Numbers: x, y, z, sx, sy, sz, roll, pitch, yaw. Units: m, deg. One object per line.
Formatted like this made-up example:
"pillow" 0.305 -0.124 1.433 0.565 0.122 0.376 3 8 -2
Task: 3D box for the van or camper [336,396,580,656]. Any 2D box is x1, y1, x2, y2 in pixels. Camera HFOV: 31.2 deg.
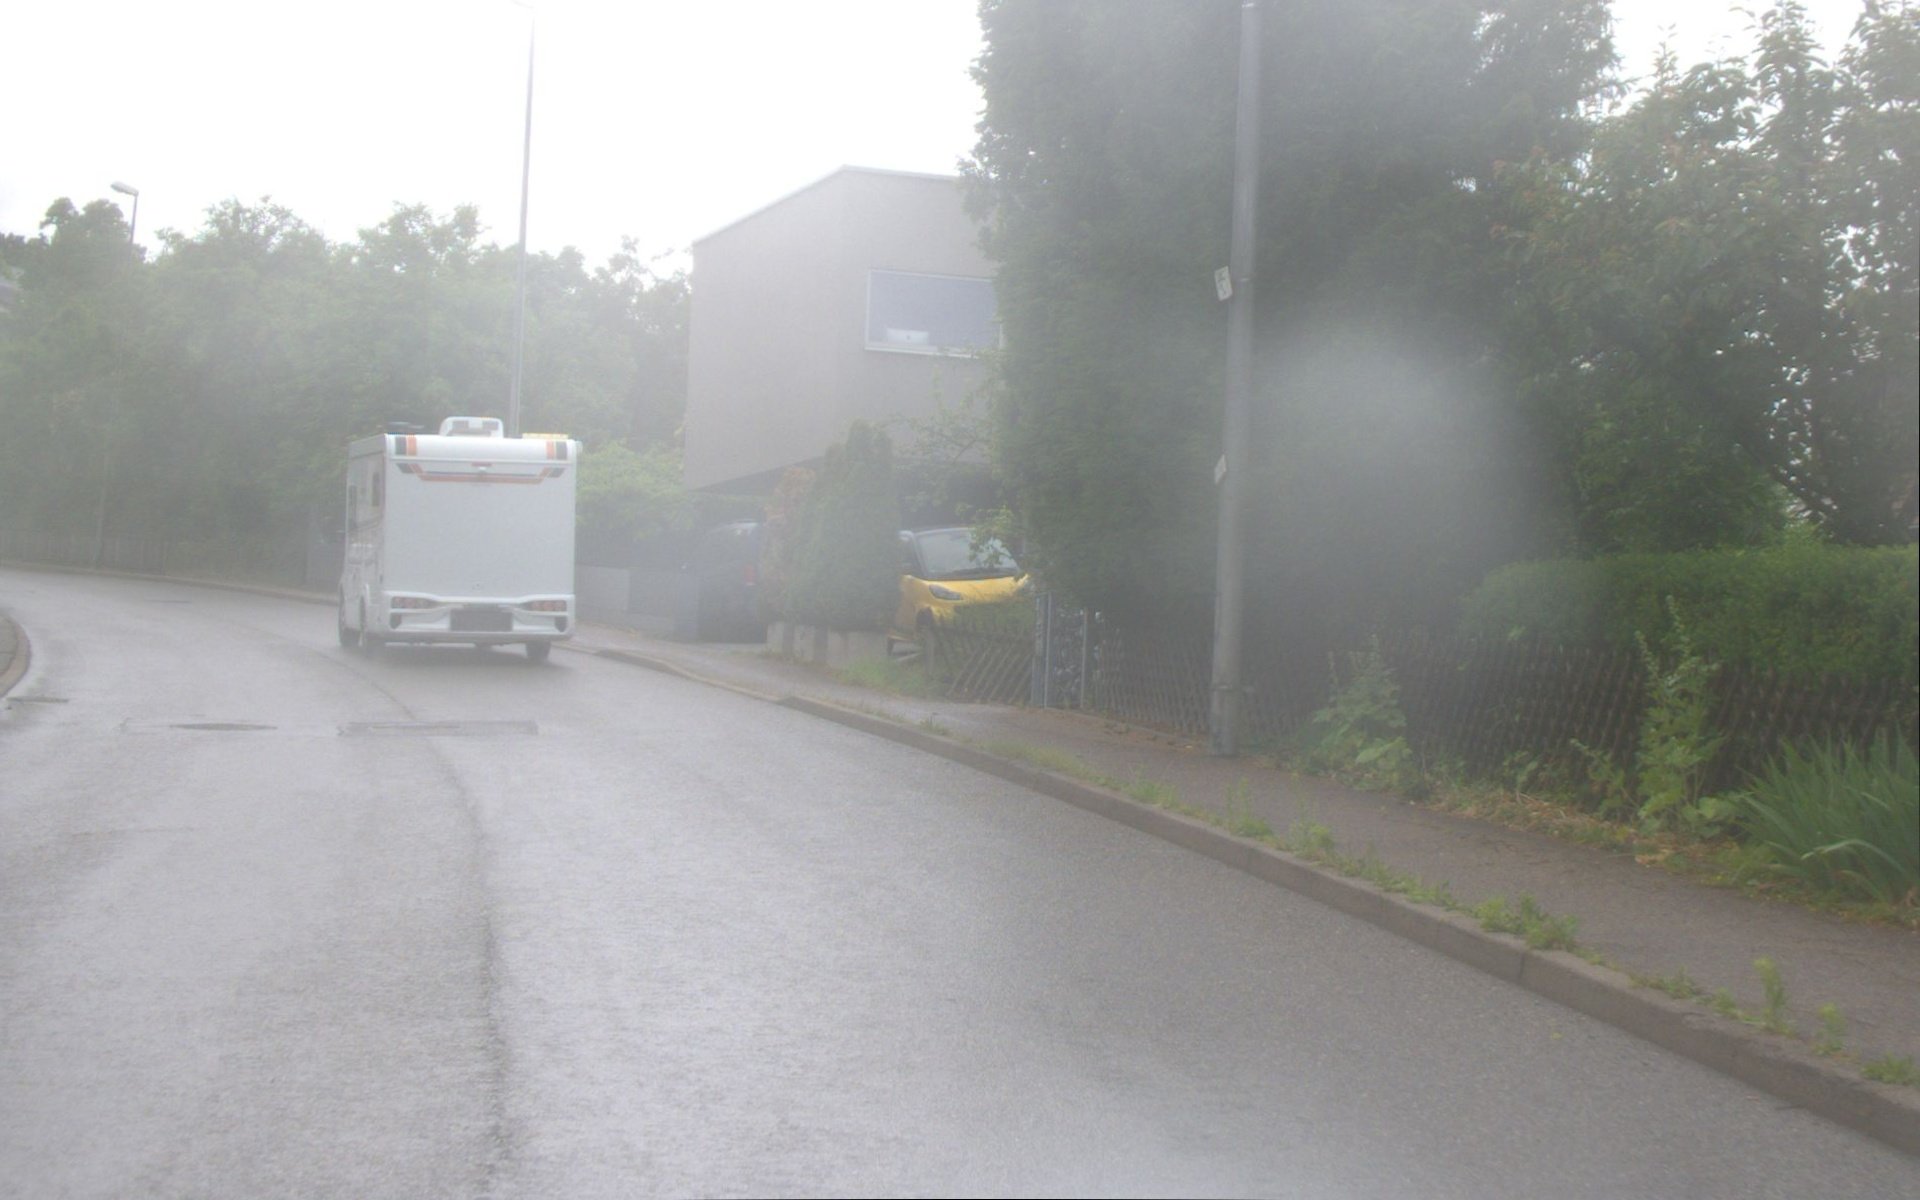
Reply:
"van or camper" -6.255 -0.864 42.174 2.539 2.915 5.949 1 0 -12

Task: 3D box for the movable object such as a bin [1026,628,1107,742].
"movable object such as a bin" 0.967 0.768 31.262 0.504 0.966 0.595 5 0 -14

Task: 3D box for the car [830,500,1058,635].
"car" -0.243 -0.411 42.266 1.627 1.488 3.428 -4 2 -20

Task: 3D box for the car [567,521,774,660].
"car" -4.486 -0.092 52.536 1.993 1.934 4.774 2 -2 -19
